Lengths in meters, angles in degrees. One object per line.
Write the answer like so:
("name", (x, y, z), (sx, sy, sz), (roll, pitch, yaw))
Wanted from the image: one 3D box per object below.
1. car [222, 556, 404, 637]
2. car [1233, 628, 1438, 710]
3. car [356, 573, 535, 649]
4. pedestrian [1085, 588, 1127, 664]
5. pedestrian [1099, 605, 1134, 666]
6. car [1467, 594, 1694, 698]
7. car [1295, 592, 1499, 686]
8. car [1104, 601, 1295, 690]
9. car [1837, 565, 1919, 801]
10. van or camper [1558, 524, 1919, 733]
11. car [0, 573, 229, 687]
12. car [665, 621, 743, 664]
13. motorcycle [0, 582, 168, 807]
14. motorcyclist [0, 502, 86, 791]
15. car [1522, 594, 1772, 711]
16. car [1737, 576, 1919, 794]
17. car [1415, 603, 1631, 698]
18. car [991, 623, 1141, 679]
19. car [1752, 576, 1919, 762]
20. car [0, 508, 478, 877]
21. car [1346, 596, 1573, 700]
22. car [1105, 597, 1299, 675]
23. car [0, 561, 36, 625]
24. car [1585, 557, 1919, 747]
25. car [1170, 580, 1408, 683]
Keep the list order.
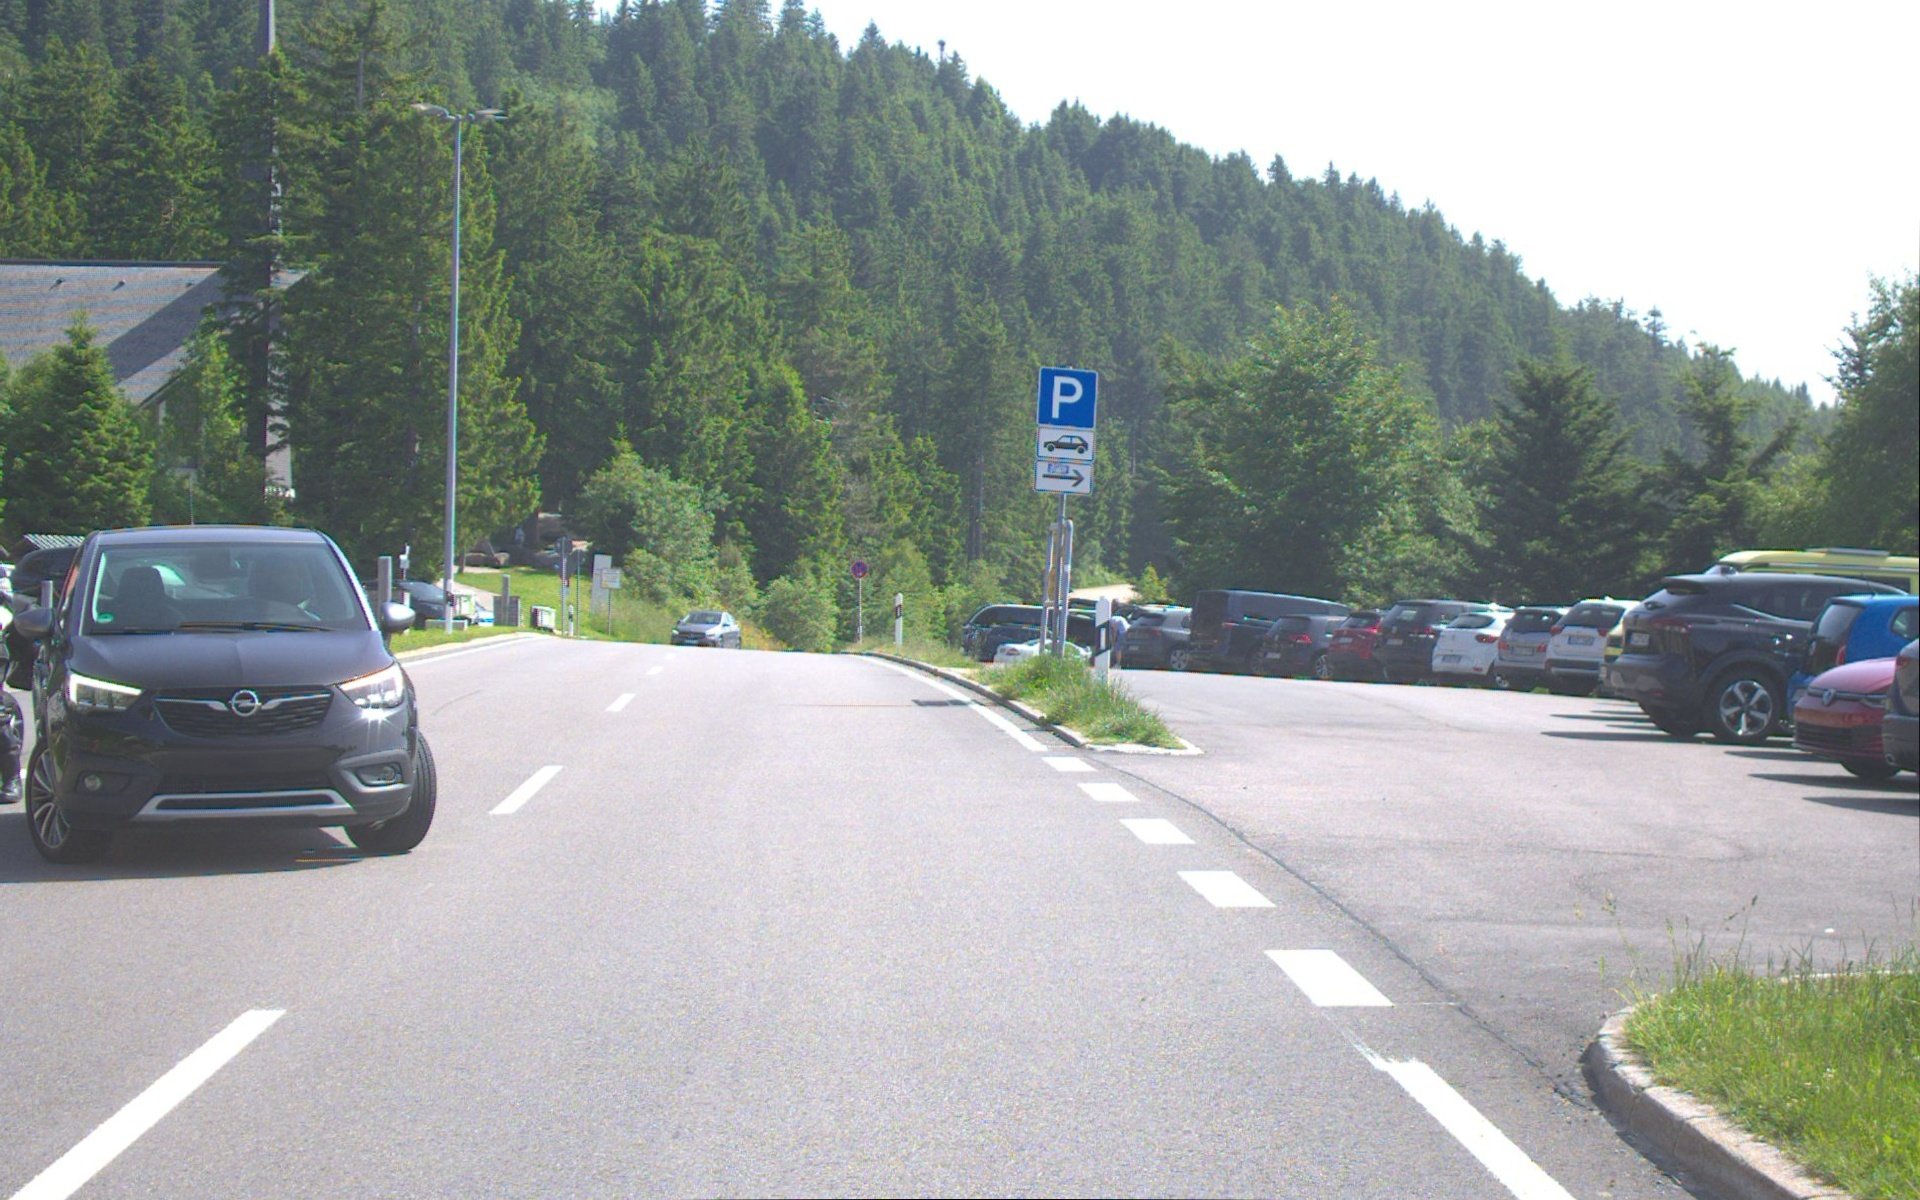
("car", (-13.107, -0.081, 69.567), (1.778, 1.547, 3.998), (1, 1, -42))
("car", (8.005, 1.481, 73.261), (3.986, 1.410, 1.745), (5, -1, -30))
("car", (-11.464, 0.229, 76.489), (4.057, 1.562, 1.736), (2, 0, 43))
("pedestrian", (3.528, 0.620, 82.915), (0.580, 1.755, 0.631), (3, -2, 44))
("pedestrian", (3.680, 0.836, 80.794), (0.773, 1.398, 0.669), (1, 1, 3))
("car", (11.244, 0.846, 62.147), (3.988, 1.544, 1.820), (5, -1, -40))
("car", (9.043, 0.812, 70.971), (3.988, 1.584, 1.863), (5, -1, -40))
("car", (5.743, 1.093, 82.368), (3.986, 1.656, 2.000), (8, -3, -29))
("car", (8.545, 0.697, 23.643), (4.395, 1.563, 1.908), (4, 1, -13))
("van or camper", (9.528, 0.361, 38.759), (5.090, 2.007, 1.882), (5, 1, -1))
("car", (-12.635, 0.406, 50.301), (1.803, 1.535, 4.190), (0, 1, -45))
("car", (-9.256, 1.528, 124.463), (1.581, 1.424, 3.368), (1, 1, 19))
("motorcycle", (-5.695, 0.538, 19.887), (0.812, 1.261, 2.323), (1, 1, 30))
("motorcyclist", (-5.801, 0.257, 19.689), (0.880, 1.636, 1.297), (1, 1, 30))
("car", (11.730, 0.905, 58.603), (4.214, 1.689, 1.863), (4, -1, -40))
("car", (8.206, 0.715, 26.157), (3.986, 1.504, 1.843), (4, 1, -12))
("car", (10.674, 0.966, 65.075), (3.988, 1.471, 1.767), (5, -1, -40))
("car", (3.430, 1.647, 111.317), (4.452, 1.294, 1.583), (7, -1, -19))
("car", (8.966, 0.675, 30.044), (3.580, 1.490, 1.648), (4, 1, -2))
("car", (-3.835, 0.369, 17.426), (1.979, 1.611, 4.151), (-1, 1, -19))
("car", (9.822, 0.957, 67.455), (4.260, 1.689, 1.990), (5, -1, -40))
("car", (5.587, 0.833, 79.388), (3.986, 1.438, 1.840), (5, -1, -24))
("car", (-22.622, -0.175, 75.723), (1.906, 1.415, 3.990), (1, 0, 42))
("car", (8.225, 0.513, 32.731), (3.986, 1.608, 1.917), (3, 0, -8))
("car", (7.300, 0.699, 76.264), (4.756, 1.873, 1.967), (5, -1, -22))
